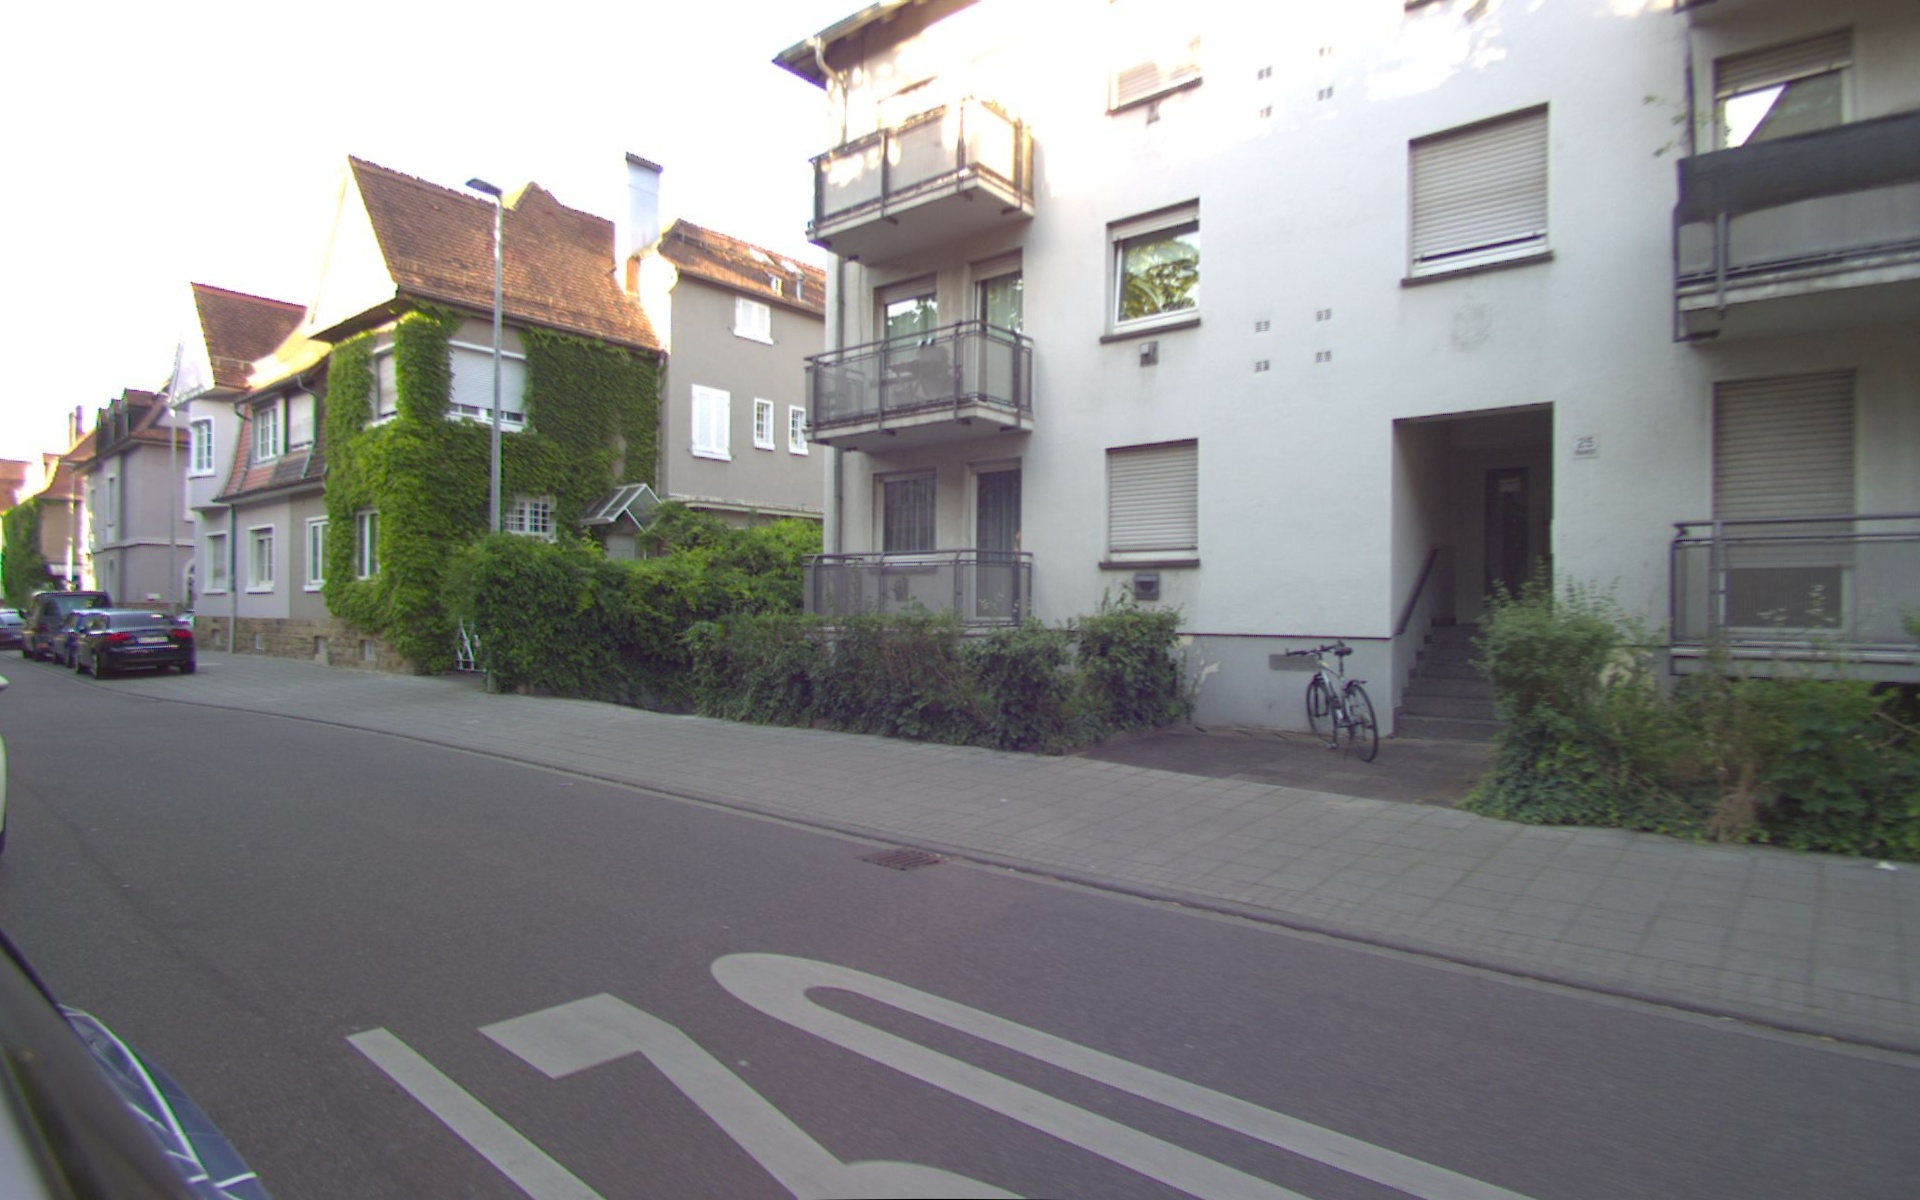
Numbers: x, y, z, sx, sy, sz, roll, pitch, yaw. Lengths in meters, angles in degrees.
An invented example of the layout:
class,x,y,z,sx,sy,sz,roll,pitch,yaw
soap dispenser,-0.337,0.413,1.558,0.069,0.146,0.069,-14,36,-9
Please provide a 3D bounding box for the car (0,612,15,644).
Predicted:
class,x,y,z,sx,sy,sz,roll,pitch,yaw
car,-45.440,1.295,47.035,4.287,1.438,1.797,-1,0,41

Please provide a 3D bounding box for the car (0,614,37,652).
class,x,y,z,sx,sy,sz,roll,pitch,yaw
car,-39.360,1.338,41.475,4.287,1.438,1.797,-1,0,41

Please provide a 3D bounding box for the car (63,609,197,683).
class,x,y,z,sx,sy,sz,roll,pitch,yaw
car,-18.498,0.967,22.502,3.998,1.465,1.671,-1,0,41

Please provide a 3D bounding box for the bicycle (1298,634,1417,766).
class,x,y,z,sx,sy,sz,roll,pitch,yaw
bicycle,3.649,0.879,9.414,0.470,1.027,1.608,0,1,0

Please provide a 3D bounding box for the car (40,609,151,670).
class,x,y,z,sx,sy,sz,roll,pitch,yaw
car,-22.938,1.004,26.801,3.998,1.465,1.671,-1,0,41

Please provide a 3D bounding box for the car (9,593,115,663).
class,x,y,z,sx,sy,sz,roll,pitch,yaw
car,-26.514,0.792,29.829,4.287,1.920,1.797,-1,0,41

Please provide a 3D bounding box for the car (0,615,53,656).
class,x,y,z,sx,sy,sz,roll,pitch,yaw
car,-35.196,1.289,37.563,4.287,1.438,1.797,-1,0,41
